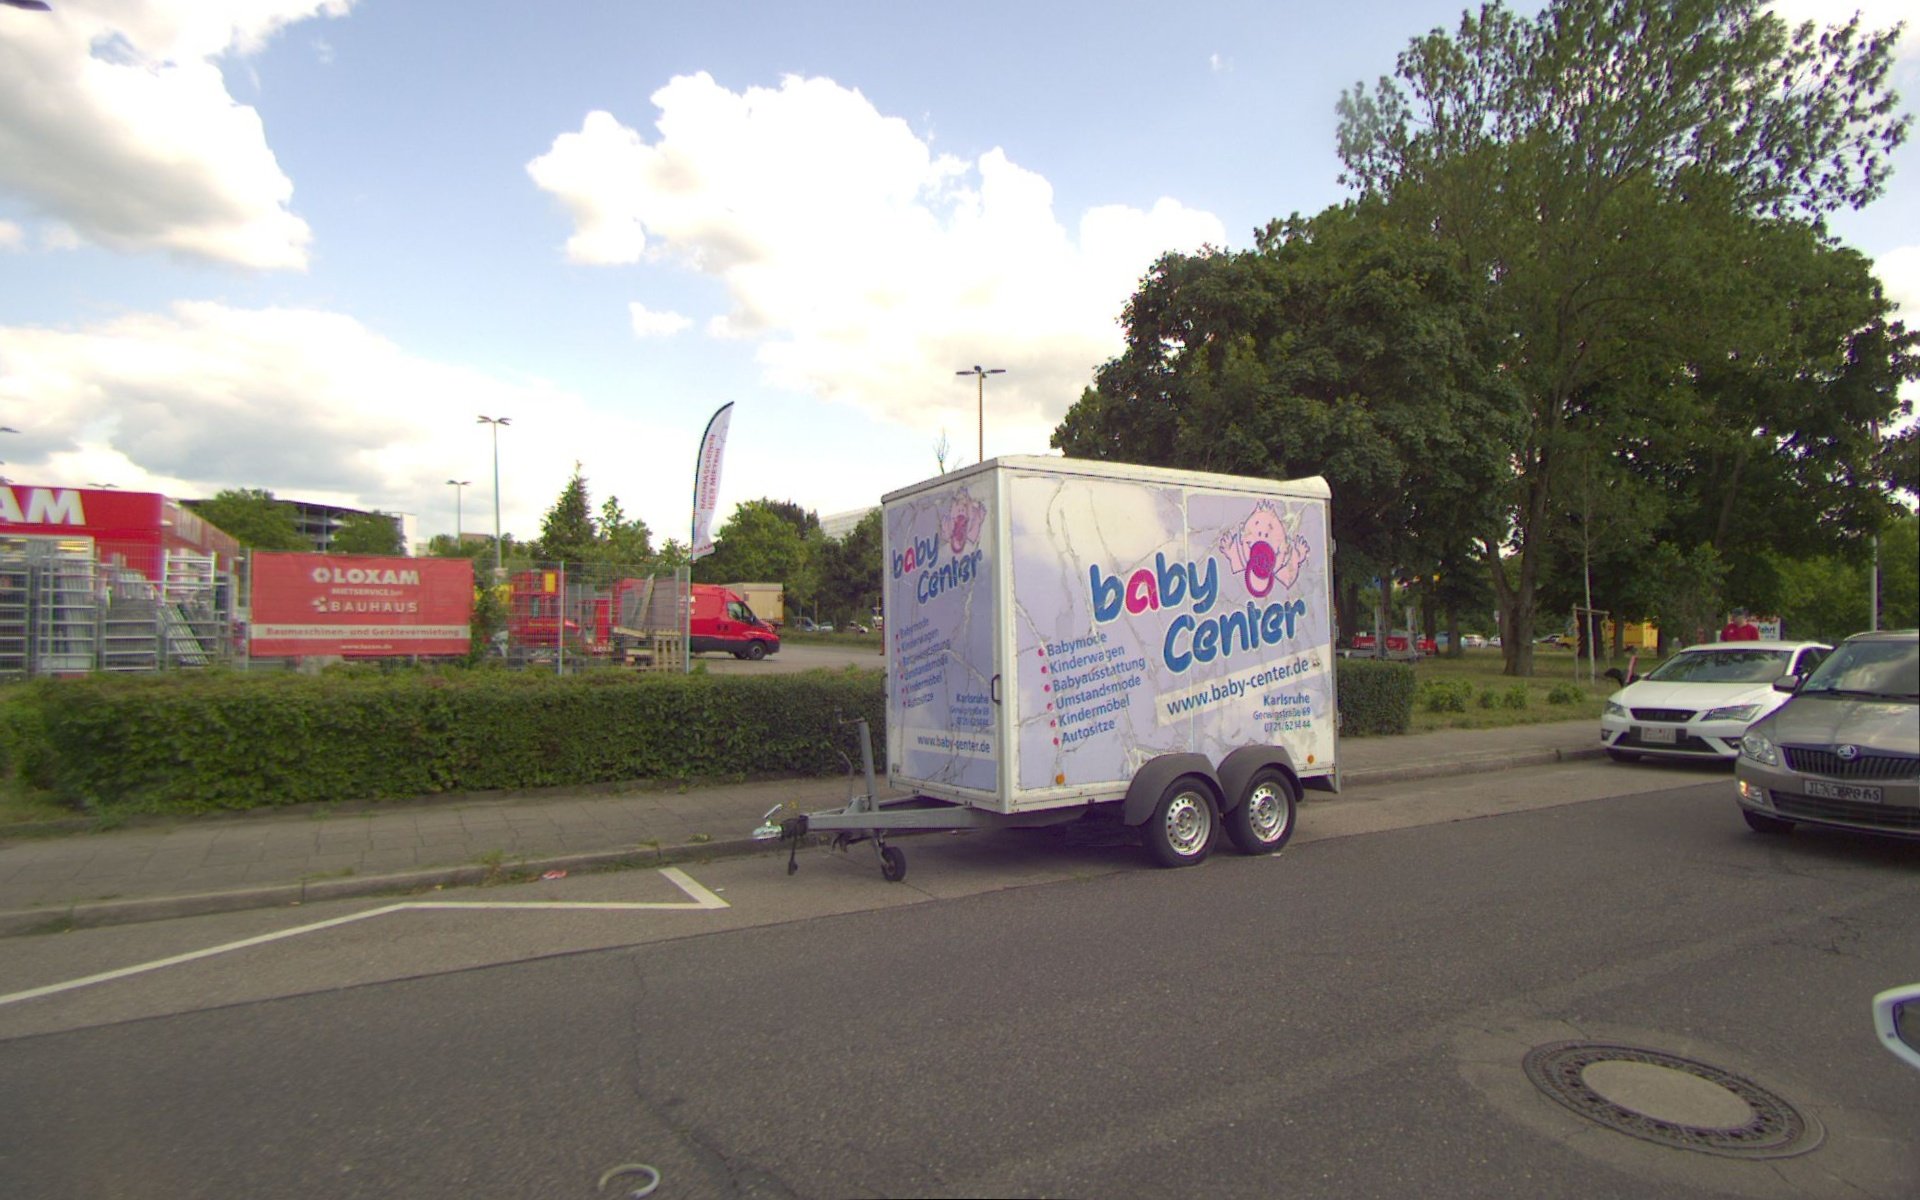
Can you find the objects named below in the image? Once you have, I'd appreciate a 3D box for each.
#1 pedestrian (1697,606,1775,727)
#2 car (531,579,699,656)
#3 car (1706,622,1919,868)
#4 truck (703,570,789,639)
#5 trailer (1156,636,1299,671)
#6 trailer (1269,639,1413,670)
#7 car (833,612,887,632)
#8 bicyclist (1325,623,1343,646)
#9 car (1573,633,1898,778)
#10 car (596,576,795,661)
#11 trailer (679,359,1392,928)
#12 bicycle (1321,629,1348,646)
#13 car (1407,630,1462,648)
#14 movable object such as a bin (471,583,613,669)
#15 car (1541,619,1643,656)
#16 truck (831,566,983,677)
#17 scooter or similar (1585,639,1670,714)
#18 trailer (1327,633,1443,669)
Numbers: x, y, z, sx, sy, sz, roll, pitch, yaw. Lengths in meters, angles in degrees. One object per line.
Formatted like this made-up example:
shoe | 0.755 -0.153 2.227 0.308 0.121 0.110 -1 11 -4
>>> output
pedestrian | 13.506 1.128 17.482 0.875 2.040 0.805 2 -1 -31
car | -13.100 0.705 38.261 5.657 2.627 2.255 3 -2 -30
car | 7.221 0.918 7.320 3.719 1.484 1.583 1 -2 -31
truck | -13.759 0.330 64.001 2.952 4.001 8.285 3 -2 -29
trailer | 8.461 1.696 32.123 2.001 0.925 4.211 3 -2 -32
trailer | 13.306 1.879 35.363 2.158 0.925 4.582 1 -1 -25
car | -11.412 2.511 114.905 5.791 2.104 2.213 1 -1 3
bicyclist | 28.031 2.567 75.354 0.727 1.669 1.000 0 -1 -35
car | 9.512 1.181 12.253 4.188 1.498 1.757 1 -4 -32
car | -9.231 0.712 35.308 6.364 2.627 2.255 3 -2 -30
trailer | 0.619 0.295 7.108 4.649 2.819 2.129 1 -3 -31
bicycle | 28.058 2.806 75.304 0.723 1.181 1.798 0 -2 -34
car | 41.126 3.377 87.164 1.778 1.424 3.996 1 -1 -32
movable object such as a bin | -11.963 0.749 28.760 3.503 2.305 1.984 1 -1 -30
car | 47.545 2.762 75.779 2.178 2.612 6.359 1 -1 -27
truck | -1.578 0.579 27.051 1.793 2.627 5.732 3 -2 -28
scooter or similar | 11.201 1.268 16.862 1.260 1.209 0.517 1 0 -19
trailer | 15.486 1.829 36.798 1.691 1.206 3.807 1 -1 -24
